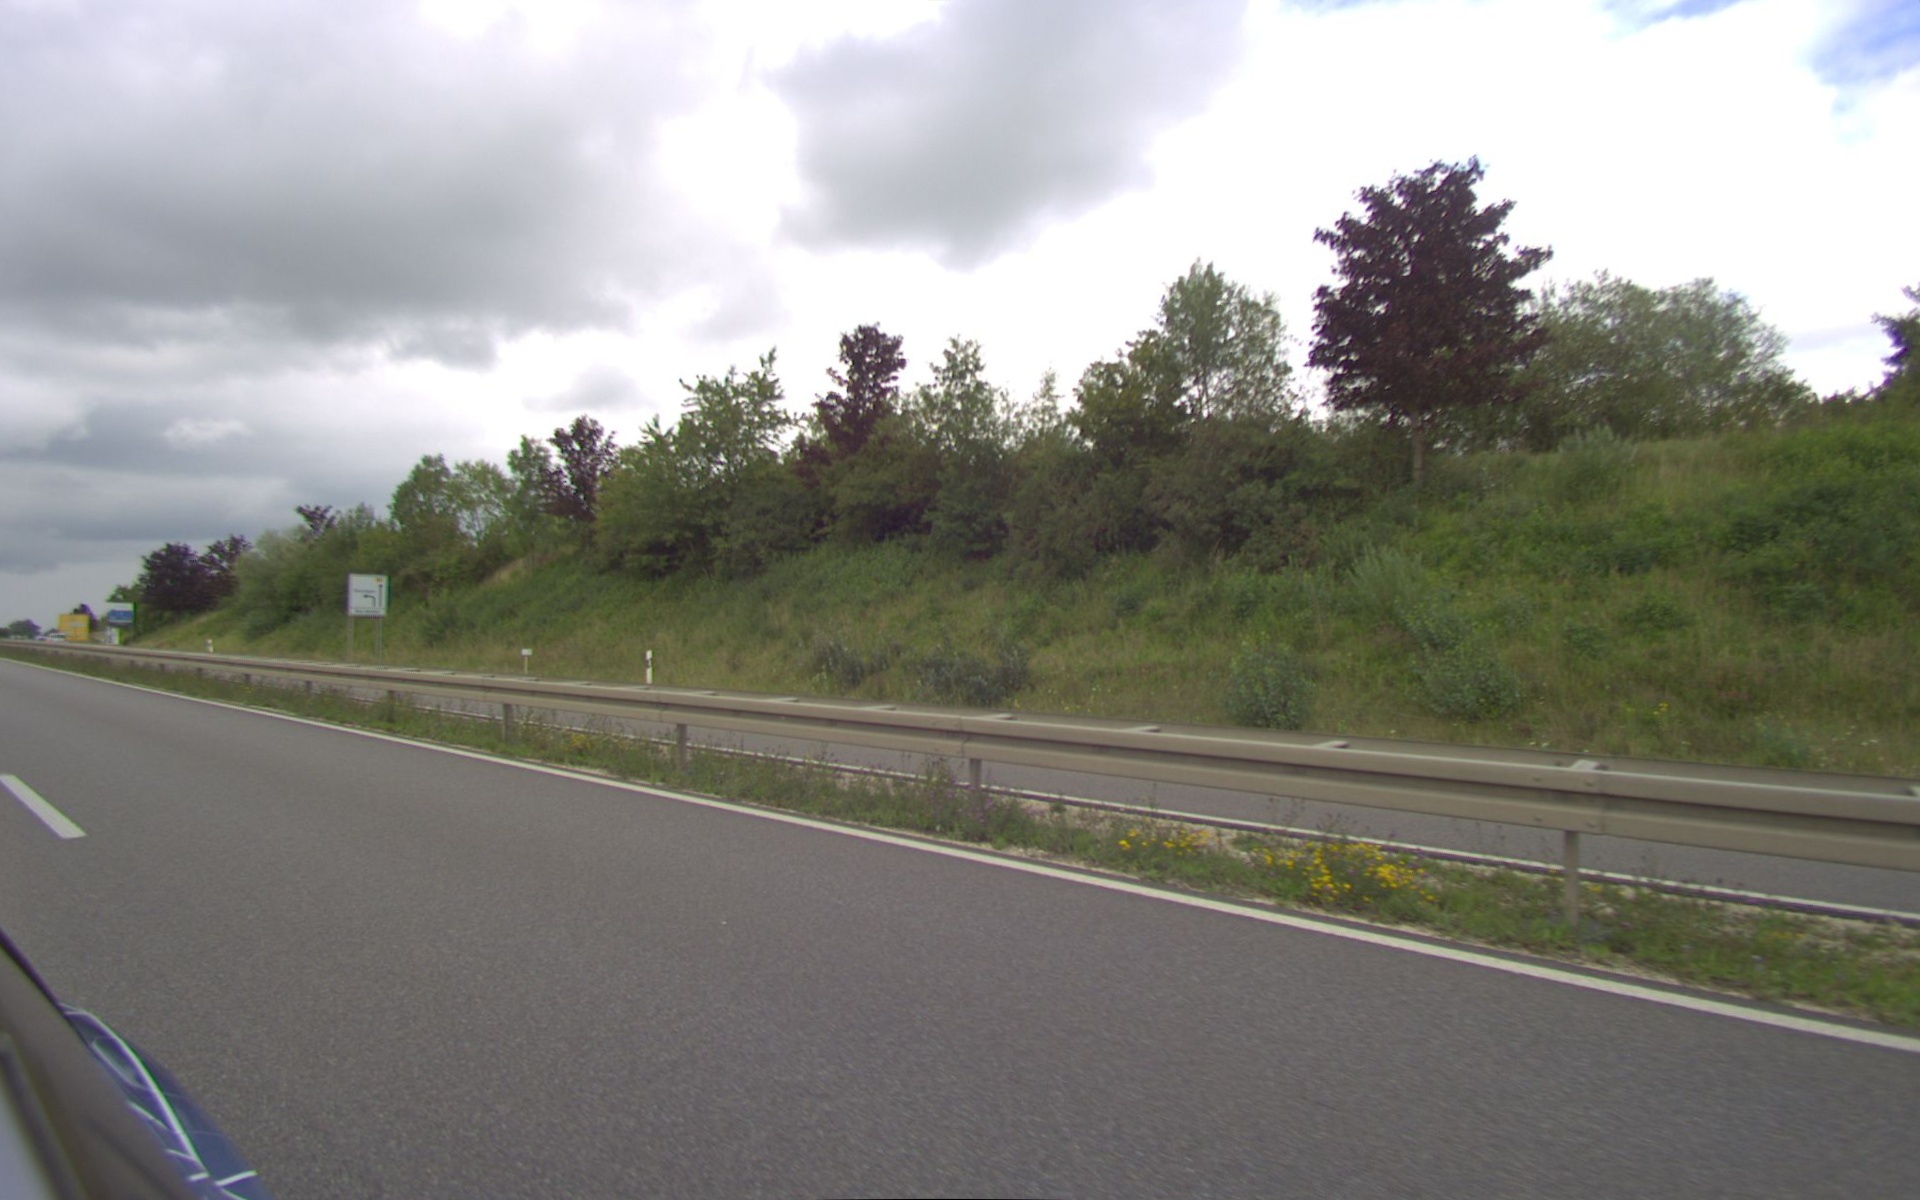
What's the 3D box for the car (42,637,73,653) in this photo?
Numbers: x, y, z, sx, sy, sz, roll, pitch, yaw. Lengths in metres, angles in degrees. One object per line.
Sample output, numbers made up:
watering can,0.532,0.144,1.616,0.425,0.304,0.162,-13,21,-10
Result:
car,-92.947,4.659,104.182,4.461,1.529,1.900,-4,-4,42
